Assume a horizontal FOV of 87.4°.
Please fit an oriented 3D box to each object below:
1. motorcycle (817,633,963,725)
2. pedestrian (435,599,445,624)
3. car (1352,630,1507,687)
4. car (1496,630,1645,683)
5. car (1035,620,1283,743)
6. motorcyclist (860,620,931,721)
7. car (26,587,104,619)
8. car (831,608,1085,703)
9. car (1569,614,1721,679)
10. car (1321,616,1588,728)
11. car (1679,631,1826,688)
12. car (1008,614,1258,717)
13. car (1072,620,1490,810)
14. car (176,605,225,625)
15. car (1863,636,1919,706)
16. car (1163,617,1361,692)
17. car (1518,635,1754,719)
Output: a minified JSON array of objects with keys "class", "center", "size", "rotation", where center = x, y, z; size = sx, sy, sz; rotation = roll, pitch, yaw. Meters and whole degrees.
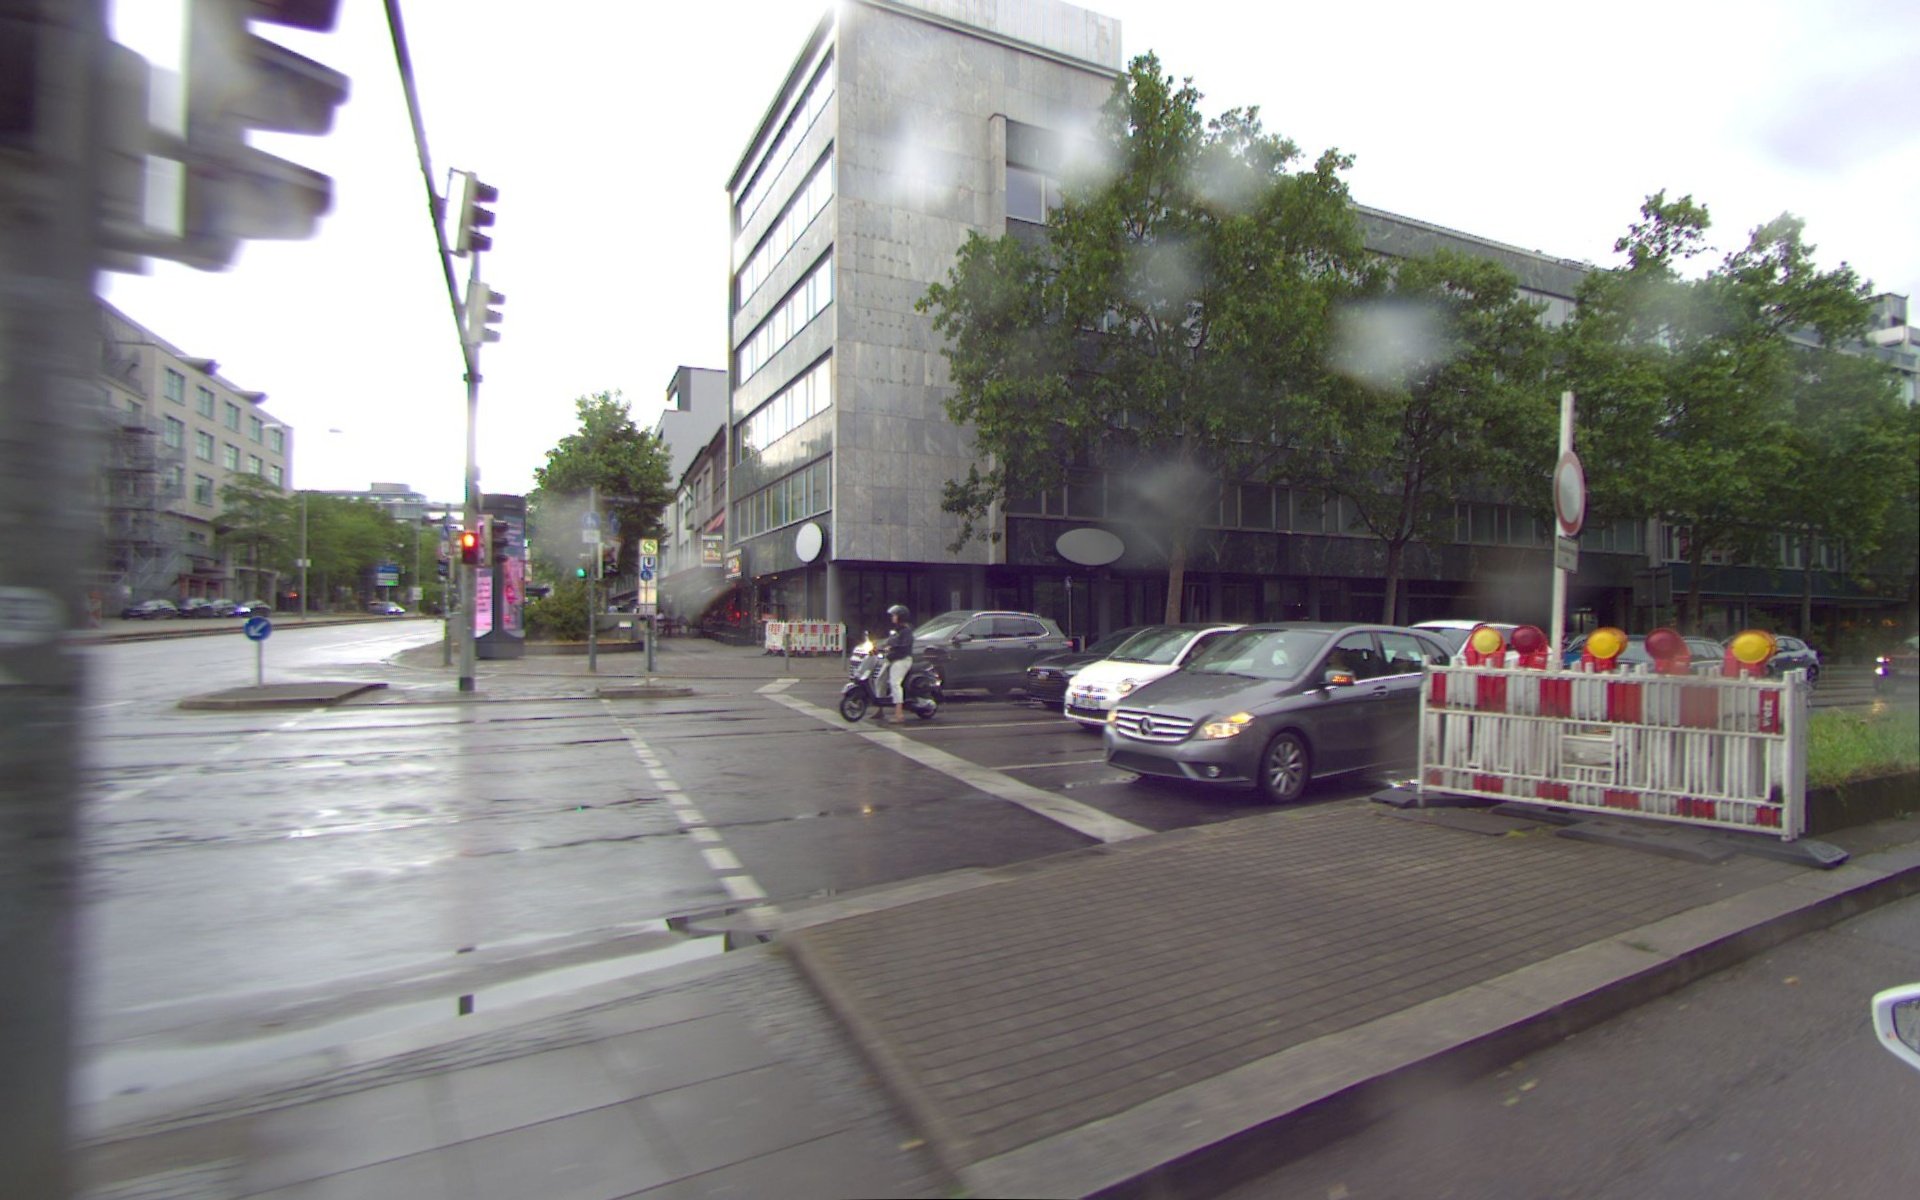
[{"class":"motorcycle","center":[-0.995,1.120,14.595],"size":[2.023,1.244,0.713],"rotation":[2,-1,-36]},{"class":"pedestrian","center":[-43.738,0.975,84.440],"size":[0.605,2.040,0.691],"rotation":[1,-1,-17]},{"class":"car","center":[12.815,1.565,27.410],"size":[3.932,1.405,1.984],"rotation":[2,-1,-31]},{"class":"car","center":[18.474,1.697,30.350],"size":[4.532,1.466,1.882],"rotation":[2,-1,-29]},{"class":"car","center":[2.857,1.051,14.130],"size":[3.403,1.495,1.703],"rotation":[2,-1,-40]},{"class":"motorcyclist","center":[-0.946,1.004,14.628],"size":[0.726,1.410,0.782],"rotation":[1,0,-35]},{"class":"car","center":[-53.105,0.198,59.678],"size":[1.970,1.817,4.316],"rotation":[1,-1,-21]},{"class":"car","center":[0.021,1.021,19.203],"size":[4.609,1.639,1.748],"rotation":[2,-1,-31]},{"class":"car","center":[17.954,1.198,26.289],"size":[3.952,1.585,1.745],"rotation":[2,-1,-30]},{"class":"car","center":[8.606,1.162,17.367],"size":[4.742,1.707,1.868],"rotation":[1,-1,-30]},{"class":"car","center":[22.975,1.675,29.096],"size":[4.512,1.511,1.712],"rotation":[1,-1,-28]},{"class":"car","center":[3.072,1.088,17.559],"size":[4.177,1.585,1.826],"rotation":[2,-1,-33]},{"class":"car","center":[3.266,0.970,9.937],"size":[4.122,1.501,1.832],"rotation":[1,-1,-35]},{"class":"car","center":[-58.150,1.139,76.978],"size":[1.732,1.530,4.316],"rotation":[1,-1,-20]},{"class":"car","center":[26.804,1.879,27.180],"size":[5.042,1.790,1.829],"rotation":[1,-1,-27]},{"class":"car","center":[7.205,1.267,23.890],"size":[4.535,1.625,1.984],"rotation":[2,-1,-31]},{"class":"car","center":[13.501,1.460,20.012],"size":[4.854,1.470,1.836],"rotation":[1,-1,-28]}]
